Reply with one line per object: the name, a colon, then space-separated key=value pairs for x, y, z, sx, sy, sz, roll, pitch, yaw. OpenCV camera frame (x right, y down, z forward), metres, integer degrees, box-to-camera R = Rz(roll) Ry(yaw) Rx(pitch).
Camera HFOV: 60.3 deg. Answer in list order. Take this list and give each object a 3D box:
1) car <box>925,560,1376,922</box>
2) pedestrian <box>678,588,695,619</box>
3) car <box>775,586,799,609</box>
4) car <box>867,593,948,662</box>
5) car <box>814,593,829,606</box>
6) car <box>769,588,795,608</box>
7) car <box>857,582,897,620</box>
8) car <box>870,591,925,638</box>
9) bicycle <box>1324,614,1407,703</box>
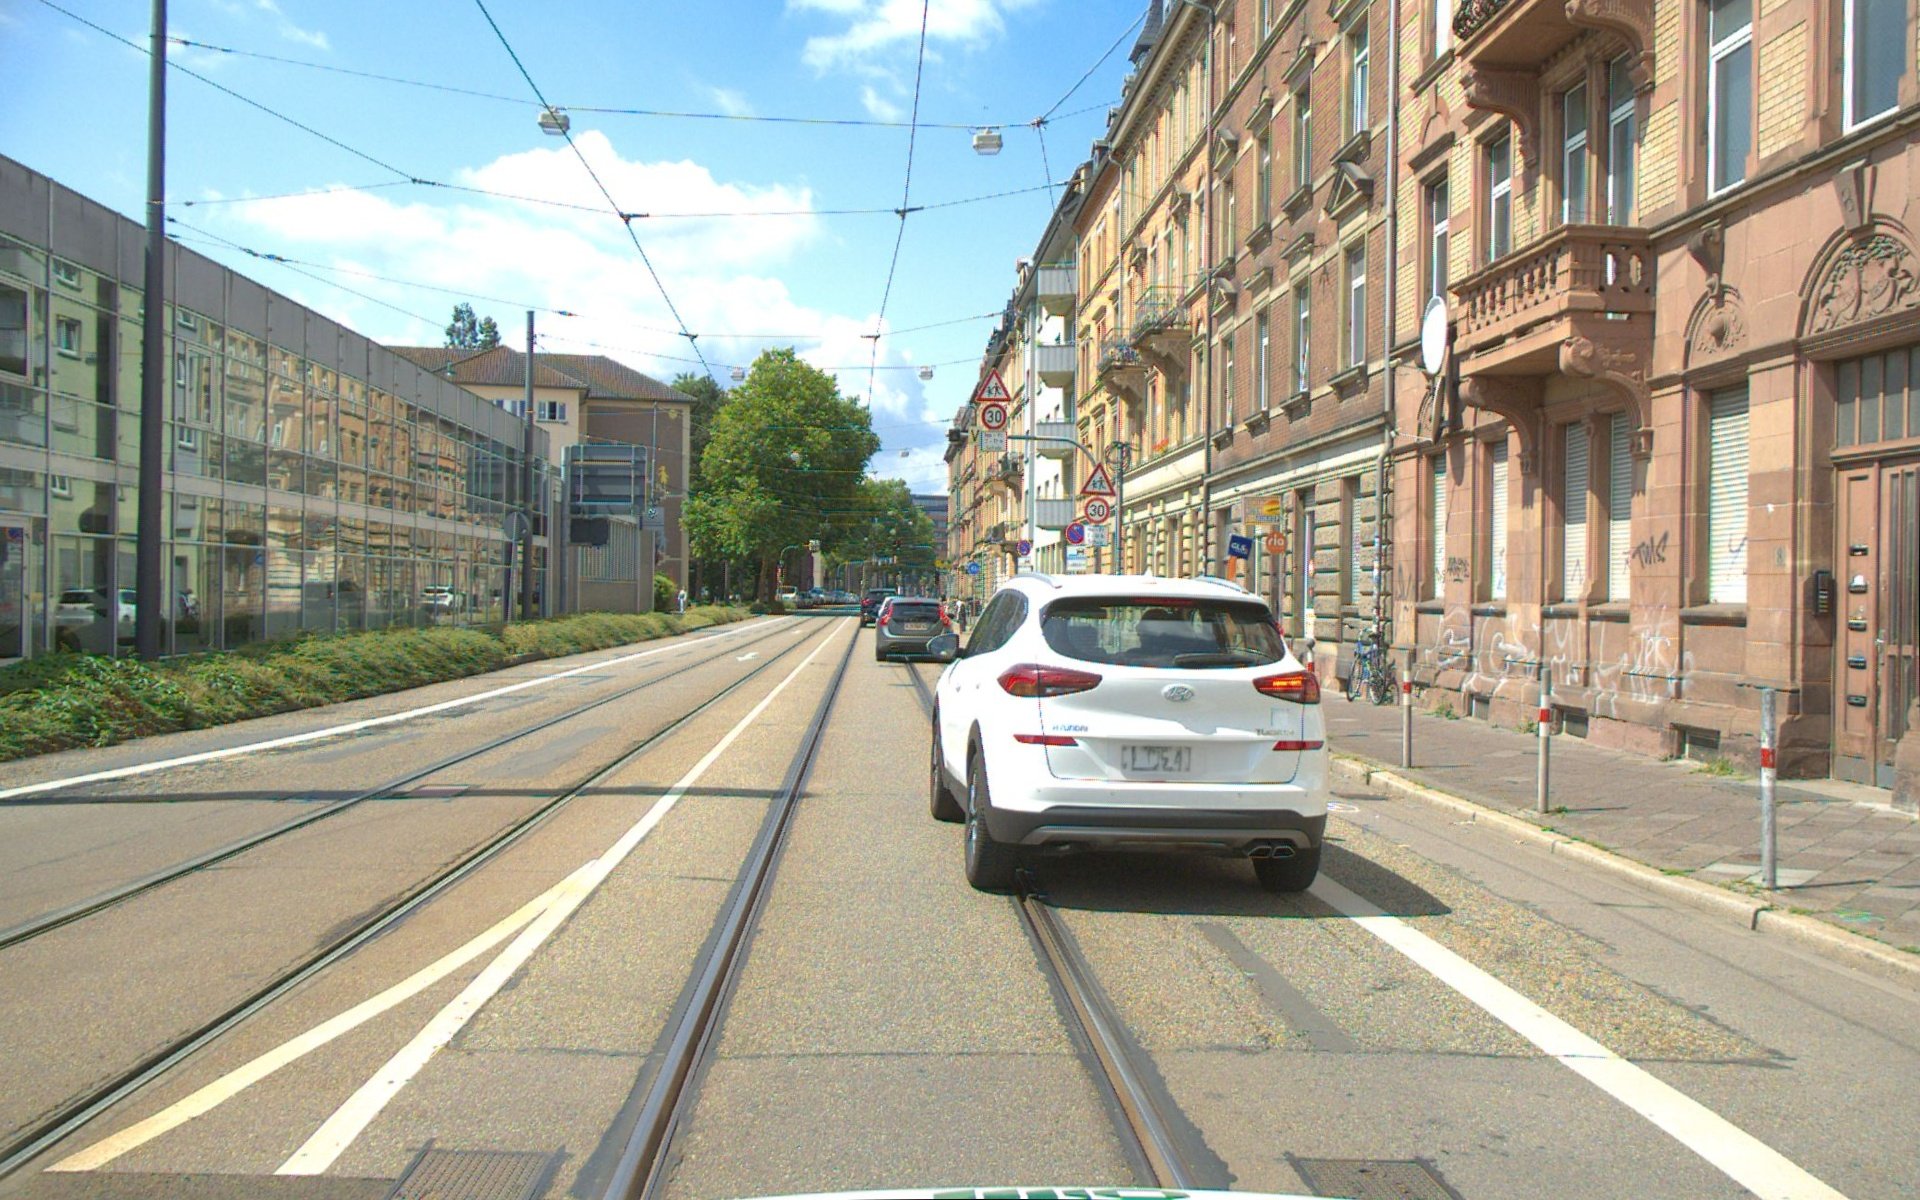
car: x=0.867 y=0.668 z=9.888 sx=1.816 sy=1.662 sz=4.176 roll=2 pitch=0 yaw=-5
pedestrian: x=-17.102 y=0.203 z=103.436 sx=0.862 sy=1.898 sz=1.080 roll=0 pitch=0 yaw=-3
car: x=-15.405 y=-0.231 z=147.500 sx=1.911 sy=1.928 sz=4.562 roll=1 pitch=0 yaw=-3
car: x=-1.192 y=0.607 z=39.126 sx=1.777 sy=1.551 sz=4.085 roll=0 pitch=0 yaw=0
car: x=-17.705 y=-0.078 z=211.521 sx=1.912 sy=1.660 sz=3.996 roll=1 pitch=0 yaw=-5
car: x=-15.201 y=-0.166 z=141.678 sx=1.911 sy=1.660 sz=4.573 roll=1 pitch=0 yaw=-3
car: x=-3.802 y=0.048 z=75.628 sx=1.778 sy=1.691 sz=4.082 roll=1 pitch=0 yaw=-3
car: x=-2.148 y=0.463 z=56.266 sx=1.778 sy=1.551 sz=3.953 roll=0 pitch=0 yaw=-3
bicycle: x=5.816 y=0.812 z=23.828 sx=0.574 sy=1.199 sz=2.204 roll=0 pitch=0 yaw=-2
